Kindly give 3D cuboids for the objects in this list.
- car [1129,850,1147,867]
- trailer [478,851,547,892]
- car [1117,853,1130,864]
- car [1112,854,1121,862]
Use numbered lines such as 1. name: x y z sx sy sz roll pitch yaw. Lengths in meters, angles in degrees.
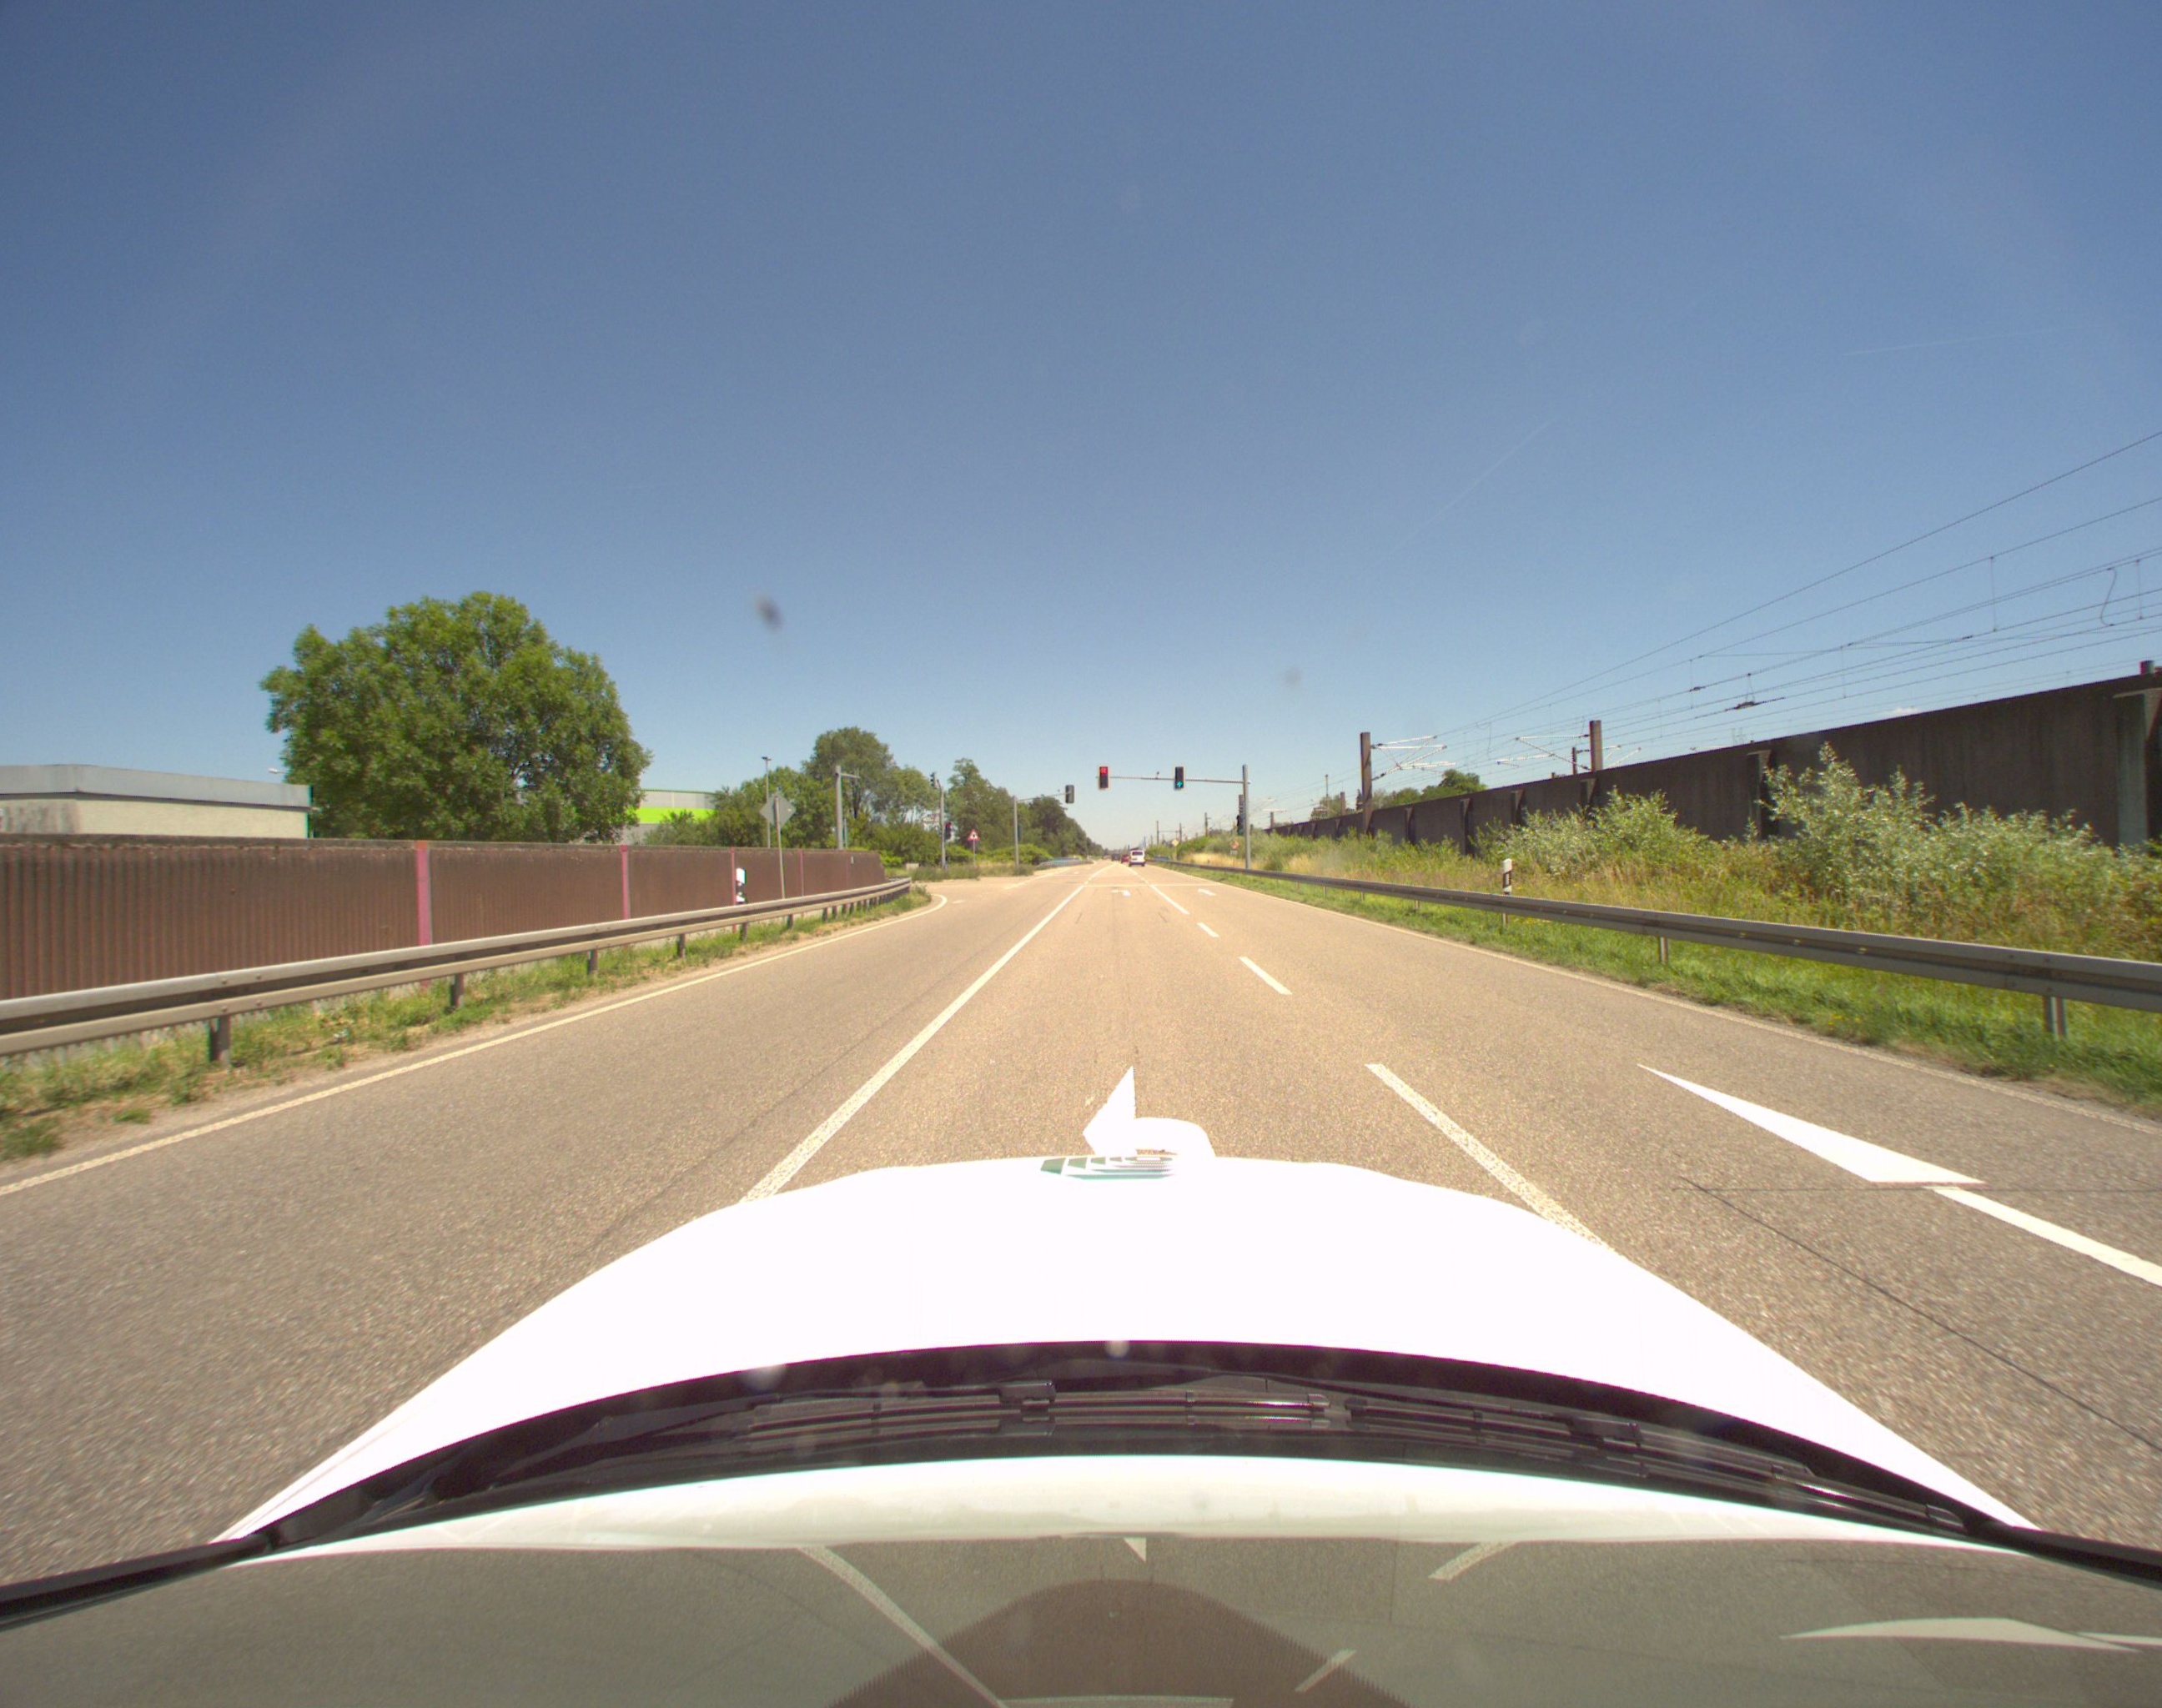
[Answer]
1. car: 6.883 0.553 99.177 1.986 1.983 4.061 0 0 1
2. trailer: -40.743 1.214 58.403 3.780 2.764 1.804 -1 -1 -44
3. car: 7.340 0.761 141.403 2.013 1.726 4.543 -1 0 1
4. car: 8.667 0.989 197.994 2.147 1.968 4.543 -1 0 1
